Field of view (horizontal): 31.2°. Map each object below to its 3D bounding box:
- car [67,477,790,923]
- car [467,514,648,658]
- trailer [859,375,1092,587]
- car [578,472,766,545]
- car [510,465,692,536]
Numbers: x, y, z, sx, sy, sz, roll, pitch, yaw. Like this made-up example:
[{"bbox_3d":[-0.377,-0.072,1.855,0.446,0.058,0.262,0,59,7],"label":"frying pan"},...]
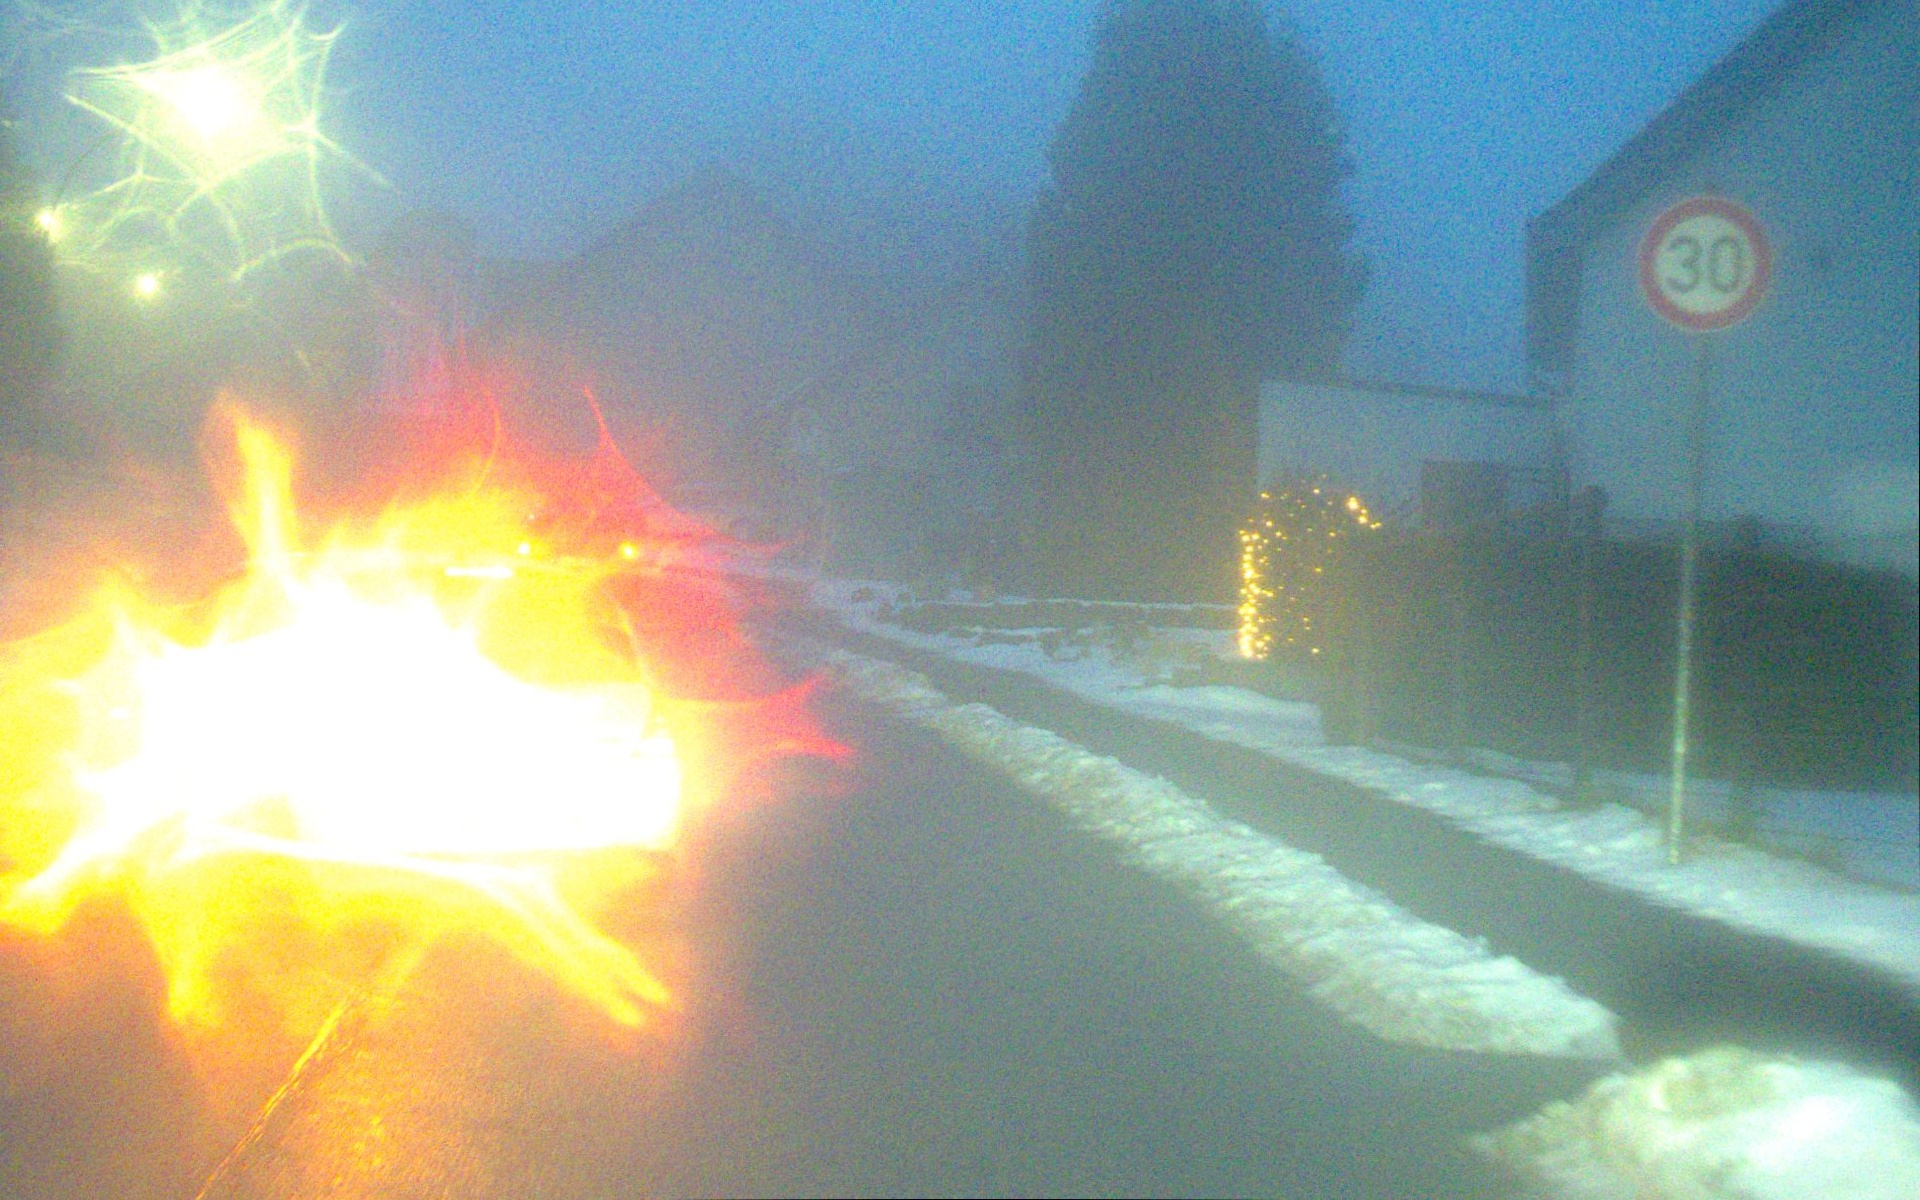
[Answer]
[{"bbox_3d":[-2.395,0.338,14.560,1.897,1.604,4.001,1,1,-26],"label":"car"},{"bbox_3d":[-5.188,-0.158,43.959,1.993,1.731,3.879,1,-1,-11],"label":"car"},{"bbox_3d":[0.206,-2.128,62.129,2.874,3.548,5.064,2,1,-15],"label":"trailer"},{"bbox_3d":[-6.624,-2.093,79.127,4.242,1.554,2.000,1,-1,-5],"label":"car"},{"bbox_3d":[-8.559,-2.345,81.781,4.157,1.554,1.946,1,-1,-10],"label":"car"}]
